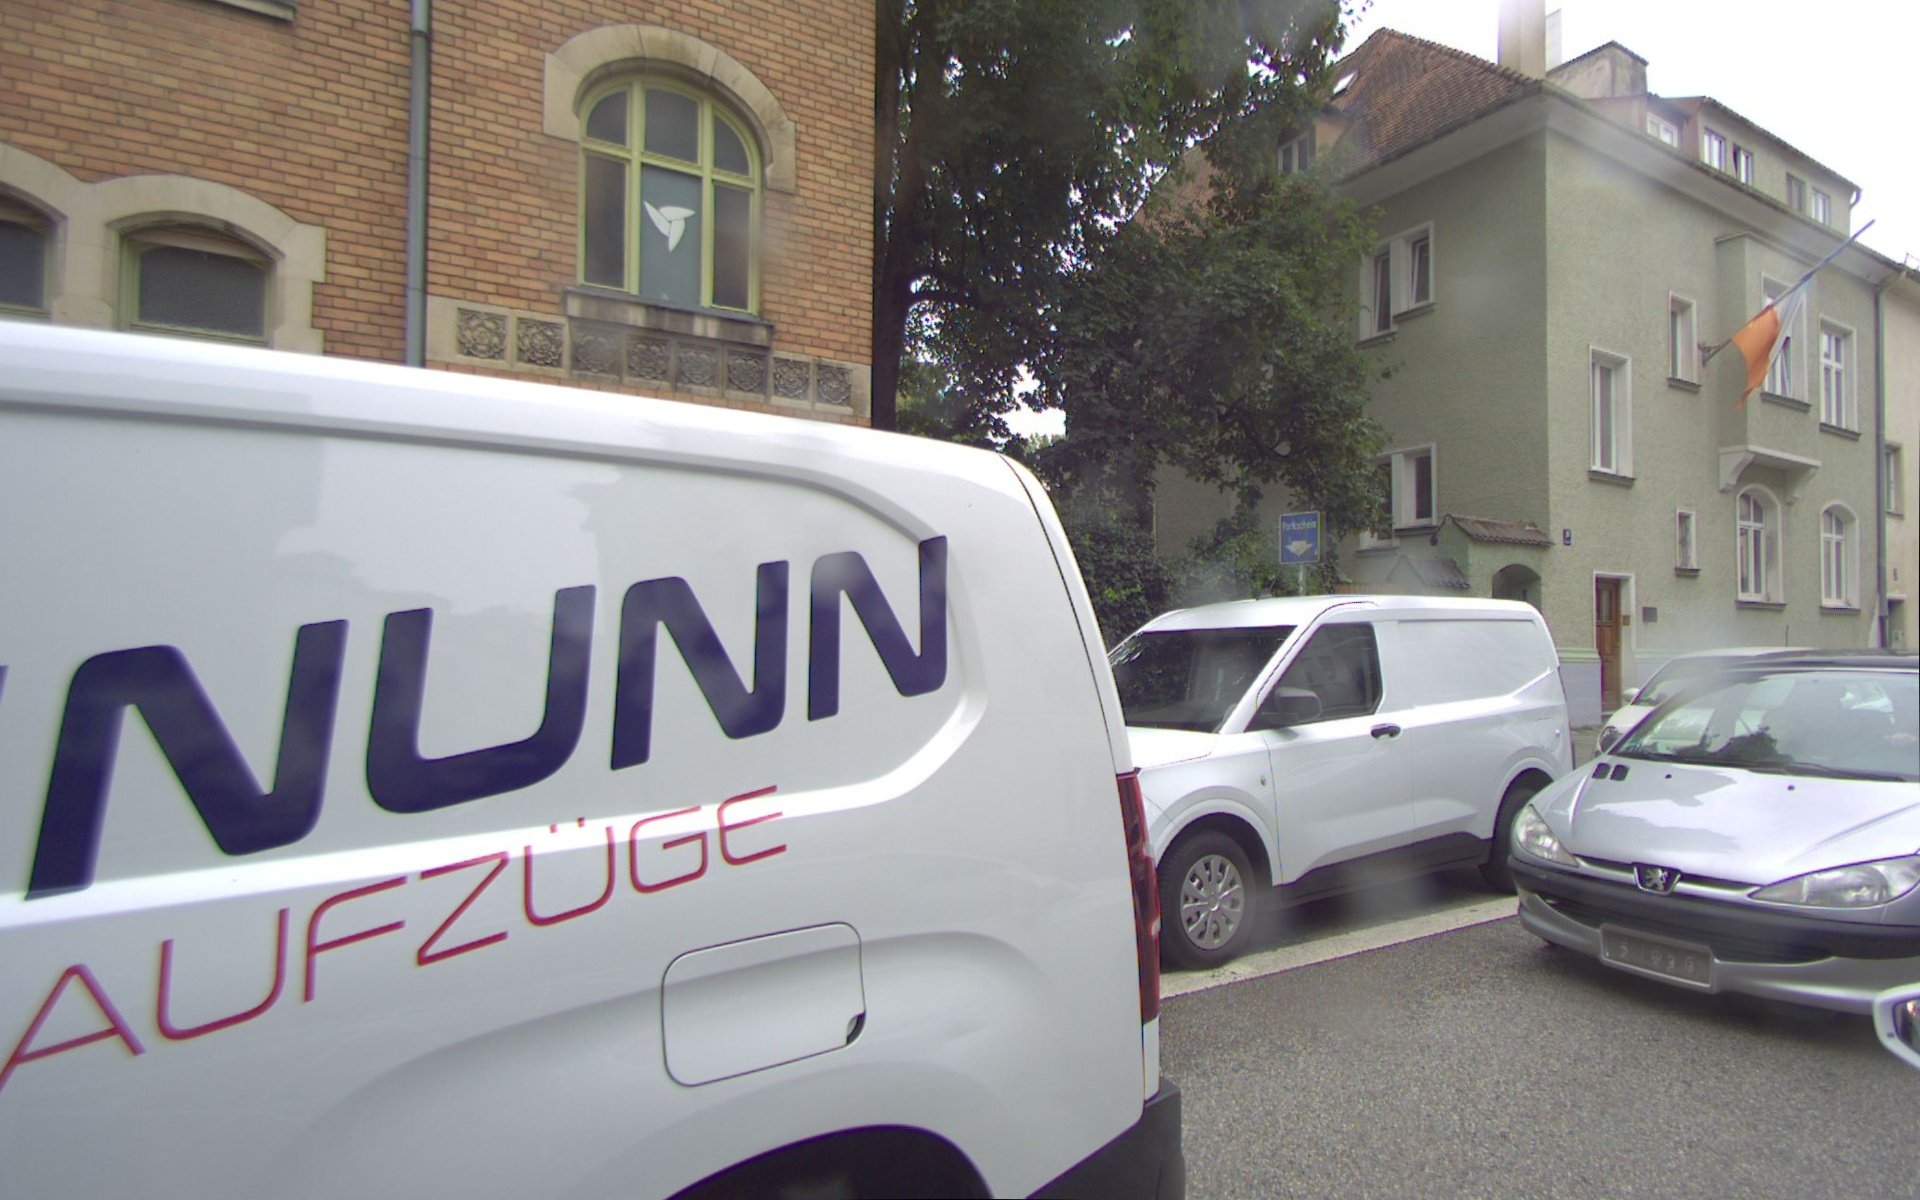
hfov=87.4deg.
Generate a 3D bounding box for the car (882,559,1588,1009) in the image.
[{"bbox_3d":[1.741,0.837,5.920,4.099,1.827,1.681,2,-4,-32],"label":"car"}]

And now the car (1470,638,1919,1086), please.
[{"bbox_3d":[4.245,0.927,4.787,3.570,1.429,1.574,2,-3,-30],"label":"car"}]

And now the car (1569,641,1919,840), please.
[{"bbox_3d":[7.113,1.133,9.048,3.277,1.485,1.465,2,-4,-33],"label":"car"}]

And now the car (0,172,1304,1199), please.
[{"bbox_3d":[-1.859,0.563,1.285,4.514,1.827,1.765,1,-3,-28],"label":"car"}]

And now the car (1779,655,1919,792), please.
[{"bbox_3d":[11.721,1.396,11.901,4.287,1.430,1.851,3,-5,-33],"label":"car"}]

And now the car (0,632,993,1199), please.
[{"bbox_3d":[-2.048,0.879,3.697,4.098,1.461,1.682,1,-4,-31],"label":"car"}]
